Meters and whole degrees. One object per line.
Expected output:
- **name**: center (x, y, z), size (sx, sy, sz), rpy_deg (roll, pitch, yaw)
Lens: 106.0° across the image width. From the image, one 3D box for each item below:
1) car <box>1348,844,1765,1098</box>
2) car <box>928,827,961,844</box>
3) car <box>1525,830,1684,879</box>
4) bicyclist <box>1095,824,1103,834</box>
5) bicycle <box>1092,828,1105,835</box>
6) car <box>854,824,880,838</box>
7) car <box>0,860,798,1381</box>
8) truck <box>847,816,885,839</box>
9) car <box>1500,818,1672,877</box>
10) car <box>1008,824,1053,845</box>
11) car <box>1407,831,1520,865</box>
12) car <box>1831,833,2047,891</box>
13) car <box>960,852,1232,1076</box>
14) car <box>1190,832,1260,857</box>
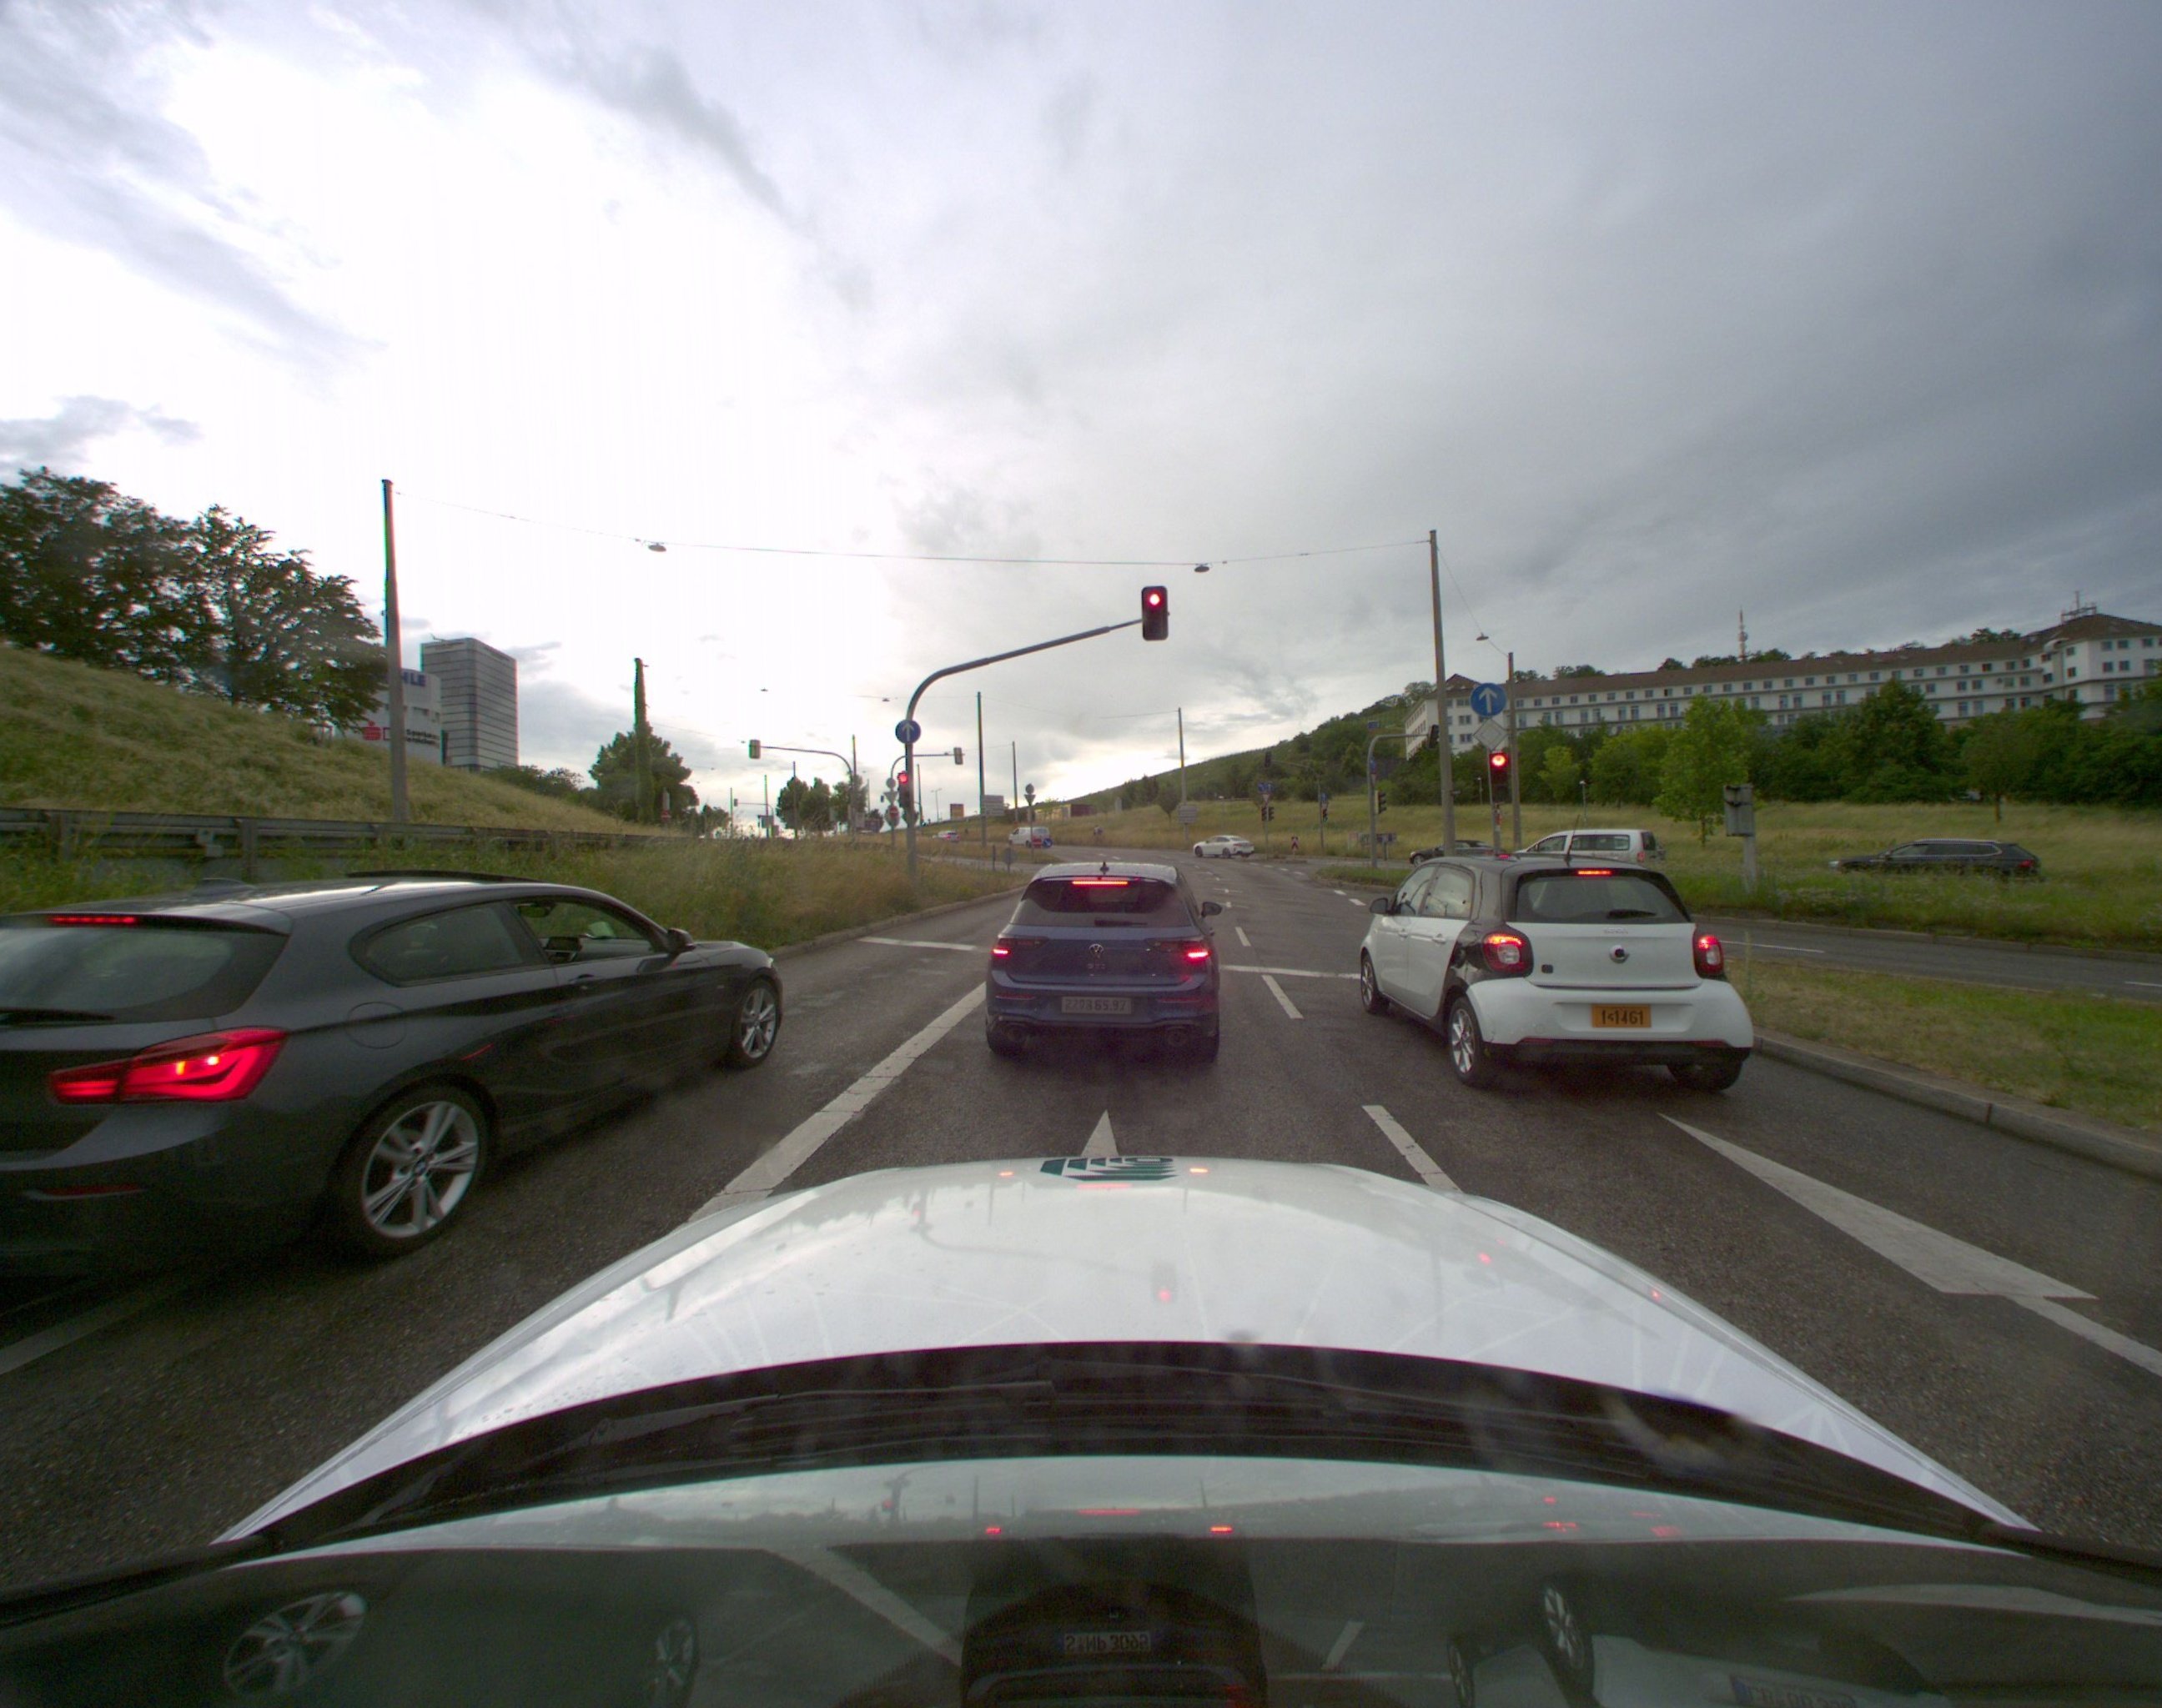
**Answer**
- **car**: center (3.403, 0.721, 6.621), size (1.649, 1.503, 3.456), rpy_deg (-1, -1, 6)
- **car**: center (-15.453, -2.084, 92.195), size (2.007, 1.659, 4.497), rpy_deg (0, -1, -33)
- **car**: center (18.983, 0.053, 29.713), size (2.010, 1.620, 4.472), rpy_deg (0, -1, -39)
- **bicyclist**: center (1.909, -2.718, 87.332), size (0.527, 1.046, 0.574), rpy_deg (2, 0, -34)
- **bicycle**: center (1.861, -2.431, 87.374), size (0.522, 0.775, 1.604), rpy_deg (2, 0, -35)
- **car**: center (-27.860, -3.024, 106.136), size (2.007, 1.659, 4.308), rpy_deg (0, -1, -33)
- **car**: center (-3.263, 0.786, 4.411), size (1.694, 1.460, 4.120), rpy_deg (-1, -1, 5)
- **truck**: center (-30.866, -3.724, 116.952), size (3.281, 3.074, 6.111), rpy_deg (2, 0, -34)
- **car**: center (17.115, -0.161, 27.798), size (1.831, 1.850, 4.644), rpy_deg (0, -1, -39)
- **car**: center (-4.624, -1.745, 74.381), size (2.143, 1.794, 4.693), rpy_deg (0, -1, -32)
- **car**: center (18.072, -0.258, 38.655), size (2.007, 1.477, 4.456), rpy_deg (0, -1, -33)
- **car**: center (26.573, 0.254, 25.386), size (2.008, 1.637, 4.373), rpy_deg (0, -1, -34)
- **car**: center (0.289, 0.738, 7.374), size (1.816, 1.460, 3.815), rpy_deg (-1, 0, 6)
- **car**: center (9.280, -0.558, 52.730), size (2.008, 1.477, 4.373), rpy_deg (0, -1, -34)
